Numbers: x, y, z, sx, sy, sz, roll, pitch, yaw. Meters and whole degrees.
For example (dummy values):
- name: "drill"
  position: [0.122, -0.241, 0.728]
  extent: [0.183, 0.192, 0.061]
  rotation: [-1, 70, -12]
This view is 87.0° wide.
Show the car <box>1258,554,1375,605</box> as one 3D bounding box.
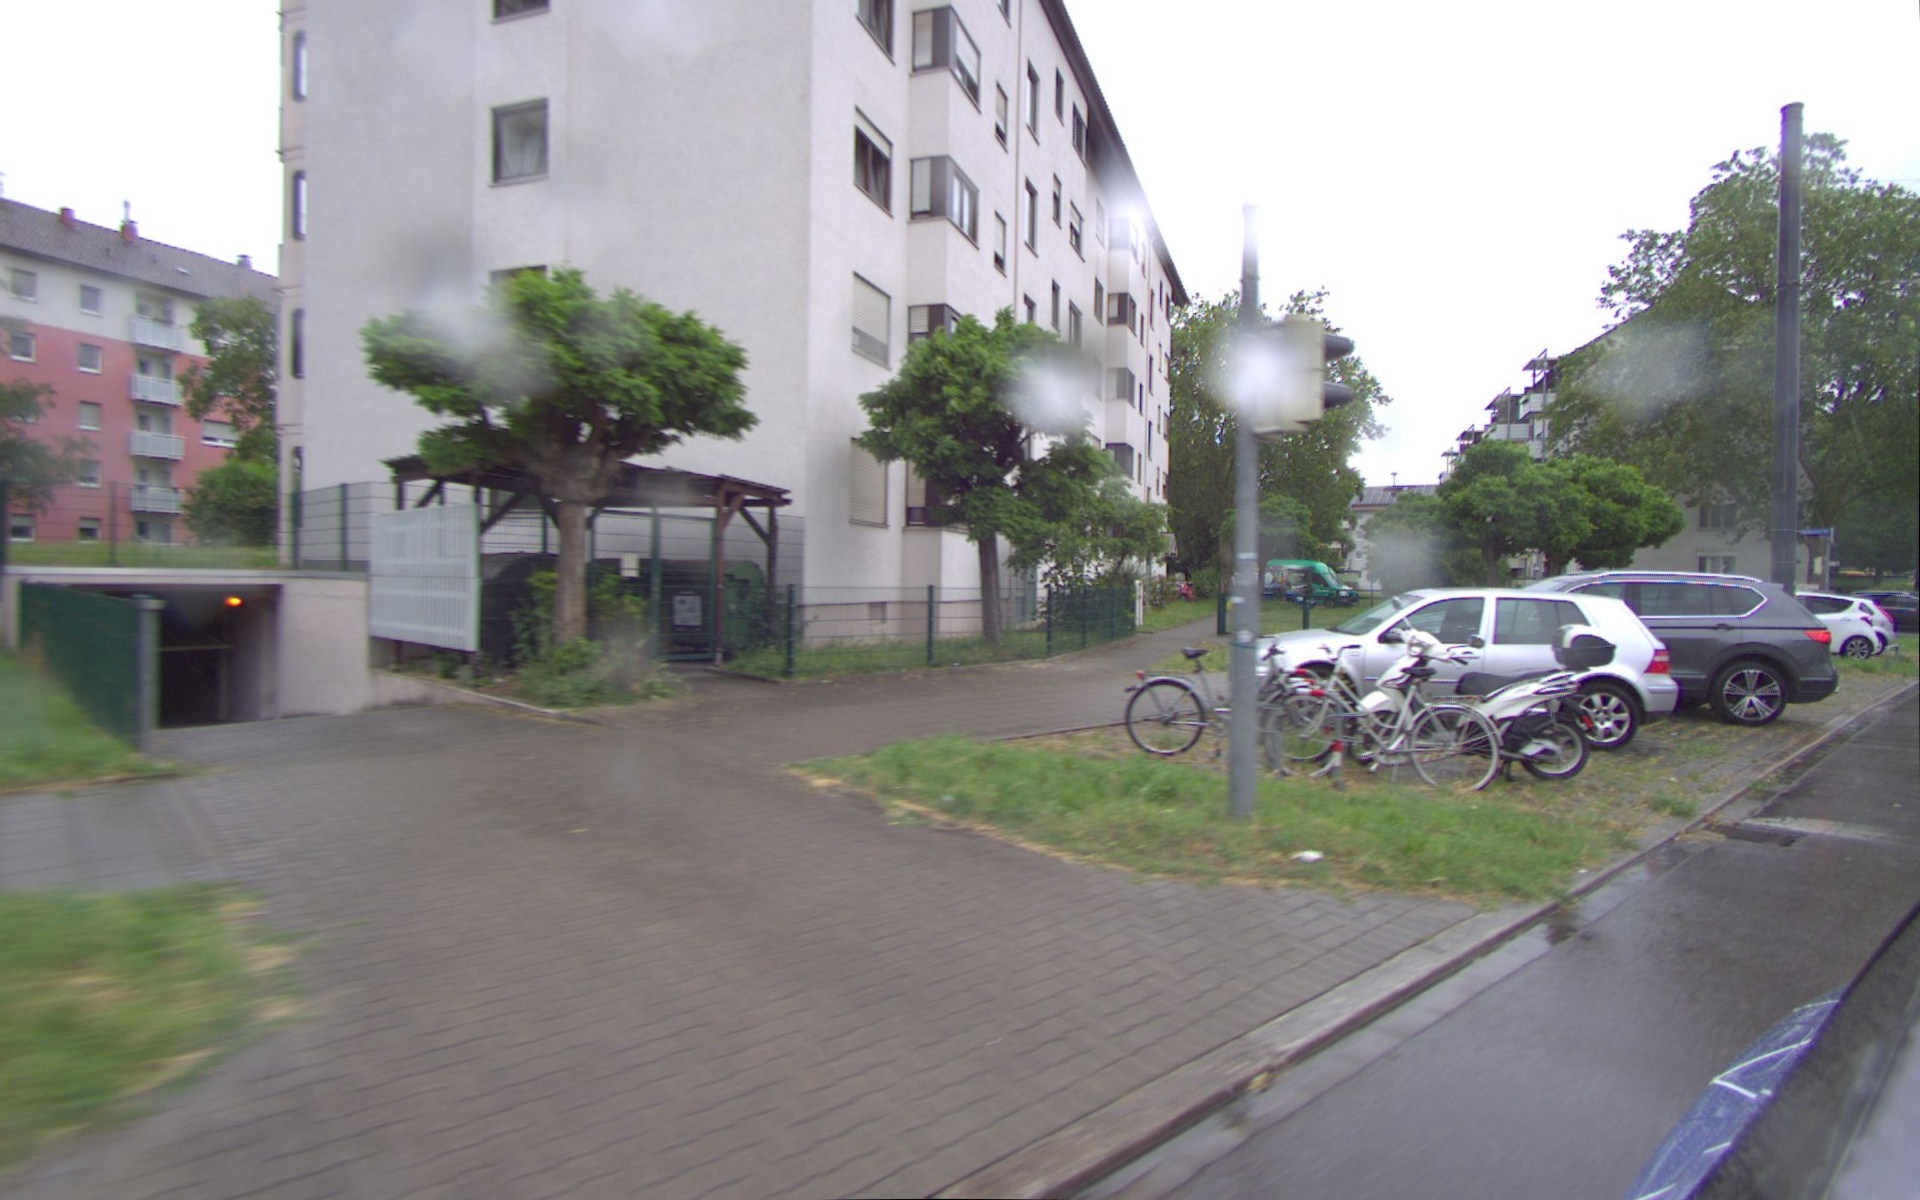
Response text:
- name: "car"
  position: [20.421, -1.217, 58.263]
  extent: [2.148, 2.813, 6.134]
  rotation: [0, 2, -39]

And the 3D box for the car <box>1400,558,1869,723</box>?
- name: "car"
  position: [7.808, 0.384, 12.245]
  extent: [4.290, 1.671, 1.849]
  rotation: [2, 2, 17]

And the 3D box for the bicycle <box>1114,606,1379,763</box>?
- name: "bicycle"
  position: [2.257, 0.650, 8.156]
  extent: [1.921, 1.115, 0.629]
  rotation: [2, 1, 3]

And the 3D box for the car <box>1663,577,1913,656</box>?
- name: "car"
  position: [18.494, 0.333, 22.795]
  extent: [3.935, 1.526, 1.702]
  rotation: [2, 4, 10]

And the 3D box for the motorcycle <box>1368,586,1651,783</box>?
- name: "motorcycle"
  position: [4.195, 0.604, 7.865]
  extent: [1.753, 1.353, 0.686]
  rotation: [2, 1, 13]

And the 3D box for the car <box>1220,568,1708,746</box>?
- name: "car"
  position: [4.793, 0.470, 10.271]
  extent: [4.063, 1.440, 1.732]
  rotation: [2, 2, 13]

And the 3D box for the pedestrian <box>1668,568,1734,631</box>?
- name: "pedestrian"
  position: [22.171, -0.042, 30.293]
  extent: [1.405, 1.836, 1.104]
  rotation: [0, 1, -32]

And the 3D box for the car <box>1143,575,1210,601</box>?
- name: "car"
  position: [13.915, -0.792, 65.151]
  extent: [1.709, 1.524, 4.002]
  rotation: [-1, 3, -39]

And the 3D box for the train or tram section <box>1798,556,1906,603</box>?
- name: "train or tram section"
  position: [68.048, -1.580, 77.403]
  extent: [2.707, 3.381, 6.398]
  rotation: [1, 2, 3]

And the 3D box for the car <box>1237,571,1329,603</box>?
- name: "car"
  position: [17.068, -0.726, 53.695]
  extent: [1.903, 1.524, 4.303]
  rotation: [-1, 3, -39]

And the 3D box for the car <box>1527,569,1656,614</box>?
- name: "car"
  position: [26.758, -0.402, 42.991]
  extent: [1.838, 1.701, 4.303]
  rotation: [-1, 3, -39]

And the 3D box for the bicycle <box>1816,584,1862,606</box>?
- name: "bicycle"
  position: [49.170, -0.297, 56.624]
  extent: [1.840, 1.156, 0.529]
  rotation: [1, 1, 23]

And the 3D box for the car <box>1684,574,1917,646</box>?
- name: "car"
  position: [20.598, 0.205, 24.995]
  extent: [3.940, 1.526, 1.778]
  rotation: [2, 4, 13]
